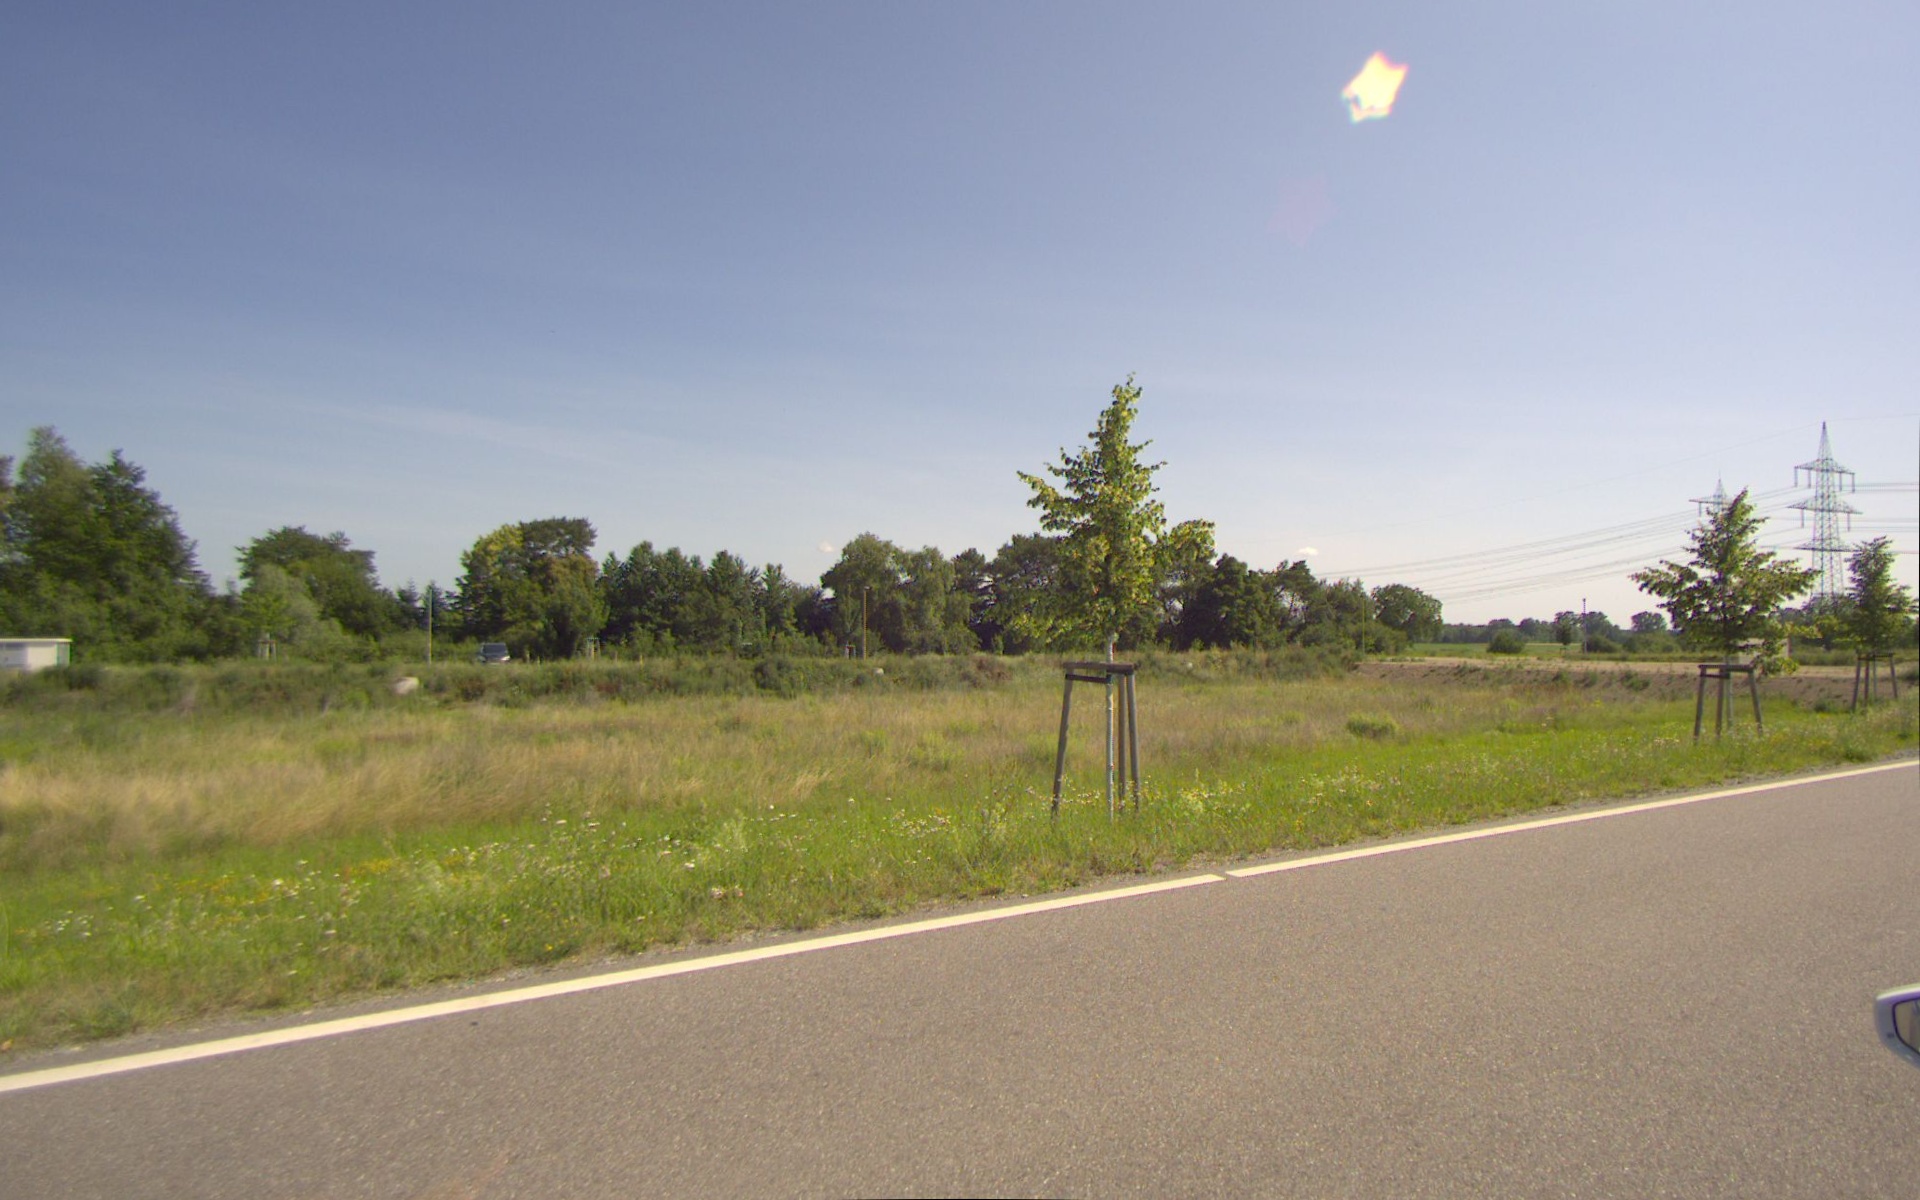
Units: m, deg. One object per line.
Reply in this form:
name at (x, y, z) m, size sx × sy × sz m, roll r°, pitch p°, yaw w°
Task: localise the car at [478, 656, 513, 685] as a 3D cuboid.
car at (-26.246, 3.953, 56.734) m, size 1.494 × 1.555 × 3.530 m, roll 2°, pitch -3°, yaw -29°
